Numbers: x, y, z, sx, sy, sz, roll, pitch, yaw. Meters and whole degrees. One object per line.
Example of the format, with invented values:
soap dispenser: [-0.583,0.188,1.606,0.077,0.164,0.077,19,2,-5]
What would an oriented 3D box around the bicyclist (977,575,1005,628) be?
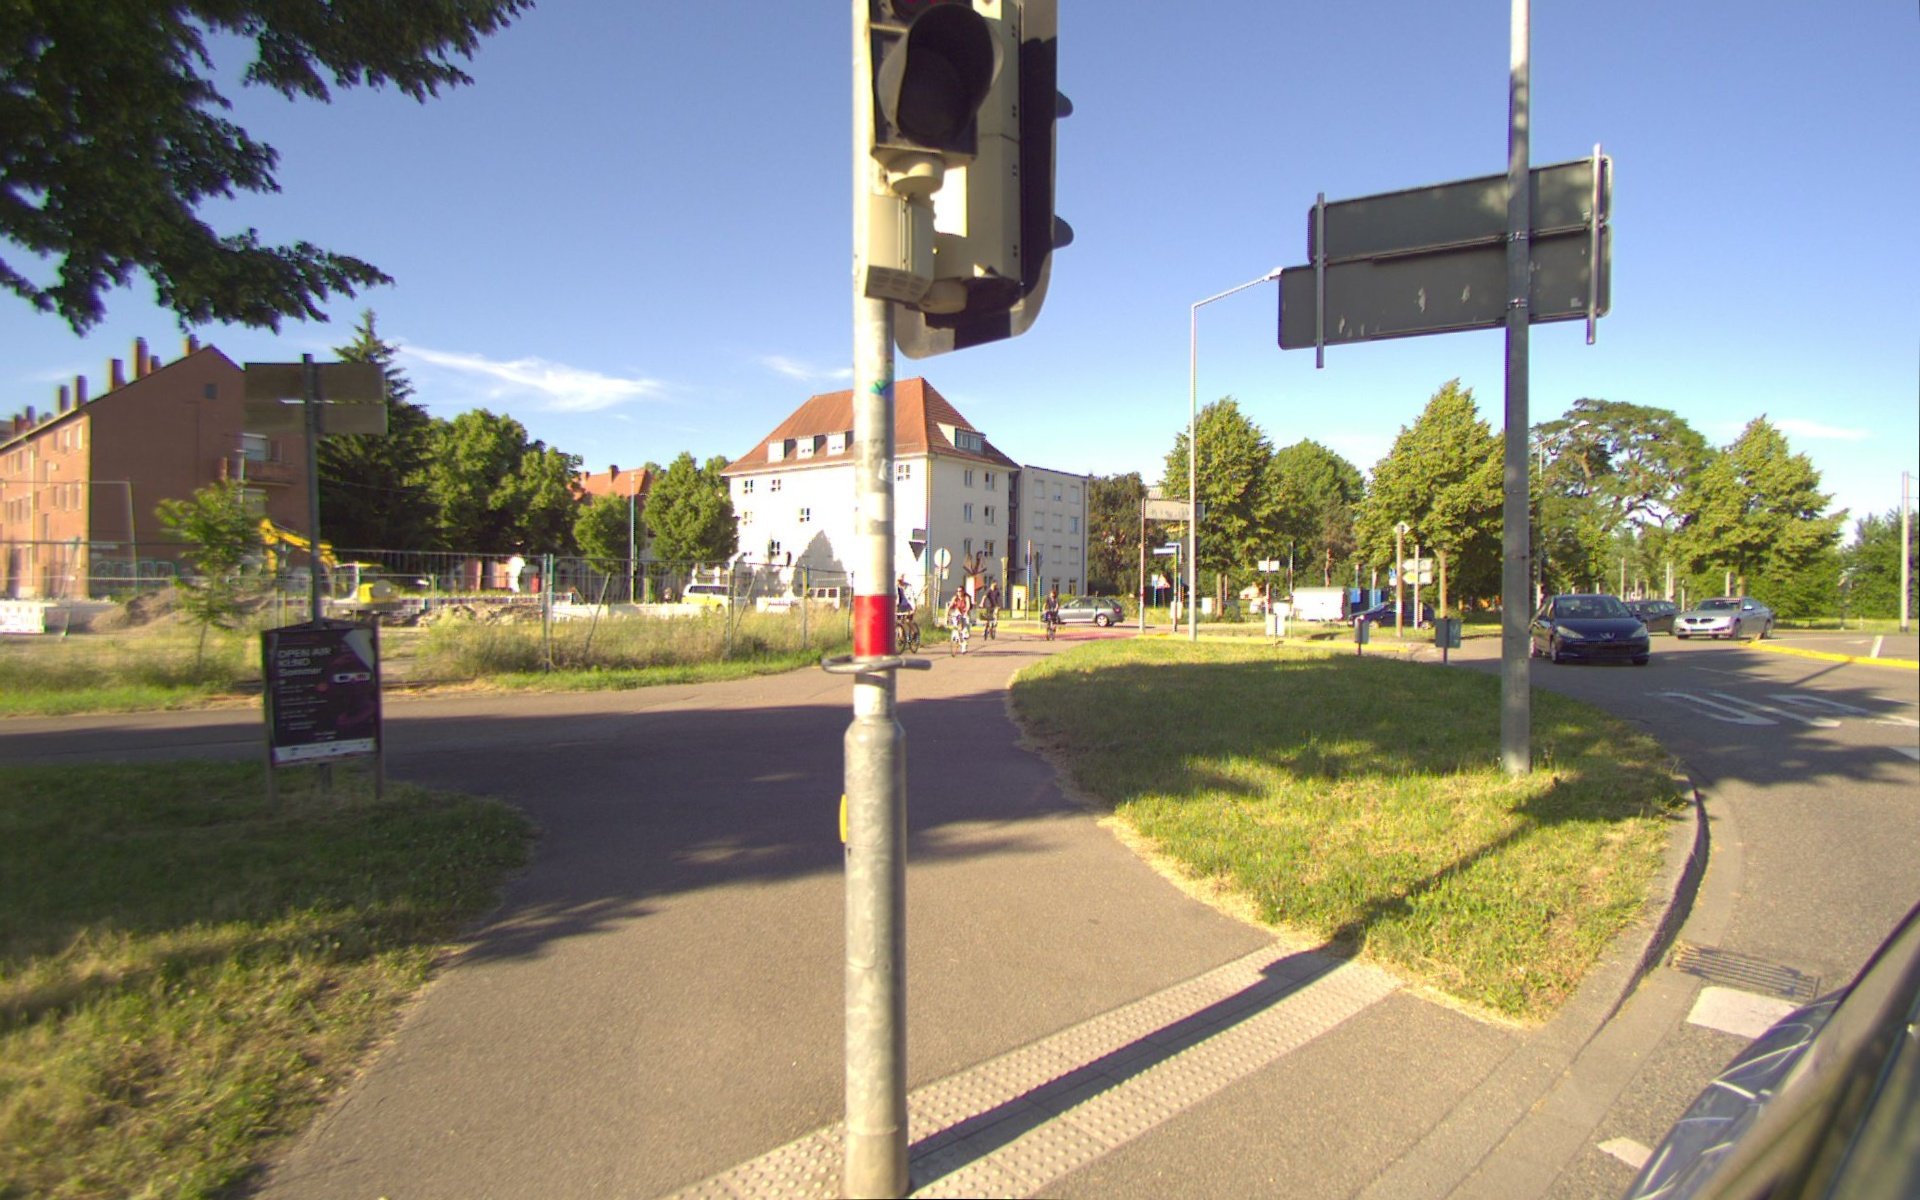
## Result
bicyclist: [0.965,0.033,31.397,0.585,1.606,0.960,-1,0,18]

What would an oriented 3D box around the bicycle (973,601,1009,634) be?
bicycle: [0.982,0.532,31.425,0.585,0.972,1.889,-1,1,19]

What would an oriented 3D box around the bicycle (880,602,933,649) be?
bicycle: [-1.232,0.576,23.618,0.648,1.025,1.810,0,1,17]

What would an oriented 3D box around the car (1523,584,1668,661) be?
car: [13.897,0.438,22.390,1.740,1.534,3.926,-1,0,17]

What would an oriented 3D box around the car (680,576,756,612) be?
car: [-14.125,-0.355,58.948,4.449,2.039,1.972,1,1,38]

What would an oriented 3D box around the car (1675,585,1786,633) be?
car: [26.993,0.289,35.407,4.442,1.589,1.850,0,1,-35]

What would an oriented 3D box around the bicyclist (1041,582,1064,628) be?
bicyclist: [3.085,0.152,33.872,0.467,1.504,0.907,-1,0,26]

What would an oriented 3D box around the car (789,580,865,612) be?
car: [-7.804,-0.265,59.295,4.234,1.807,1.872,1,1,34]

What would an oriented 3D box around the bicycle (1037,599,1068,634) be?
bicycle: [3.104,0.536,33.902,0.474,1.095,1.629,-1,1,26]

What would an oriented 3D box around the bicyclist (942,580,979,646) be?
bicyclist: [0.025,0.290,23.325,0.500,1.491,0.825,0,0,31]

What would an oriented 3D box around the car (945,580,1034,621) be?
car: [1.294,0.000,45.300,3.553,1.772,1.993,1,0,43]

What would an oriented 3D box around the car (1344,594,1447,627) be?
car: [19.892,0.471,46.329,3.924,1.395,1.757,-1,1,0]

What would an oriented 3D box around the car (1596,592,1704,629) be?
car: [27.839,0.407,40.836,3.866,1.446,1.854,0,0,-24]

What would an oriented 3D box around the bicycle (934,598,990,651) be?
bicycle: [0.067,0.552,23.356,0.503,1.166,1.586,3,1,31]

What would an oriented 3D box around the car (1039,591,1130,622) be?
car: [6.113,0.331,49.642,4.215,1.446,1.841,-1,1,16]

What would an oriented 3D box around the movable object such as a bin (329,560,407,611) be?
movable object such as a bin: [-24.693,-0.600,42.263,2.040,2.039,1.989,-1,0,18]

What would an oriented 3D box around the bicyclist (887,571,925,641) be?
bicyclist: [-1.255,0.131,23.495,0.646,1.572,0.790,0,0,17]
